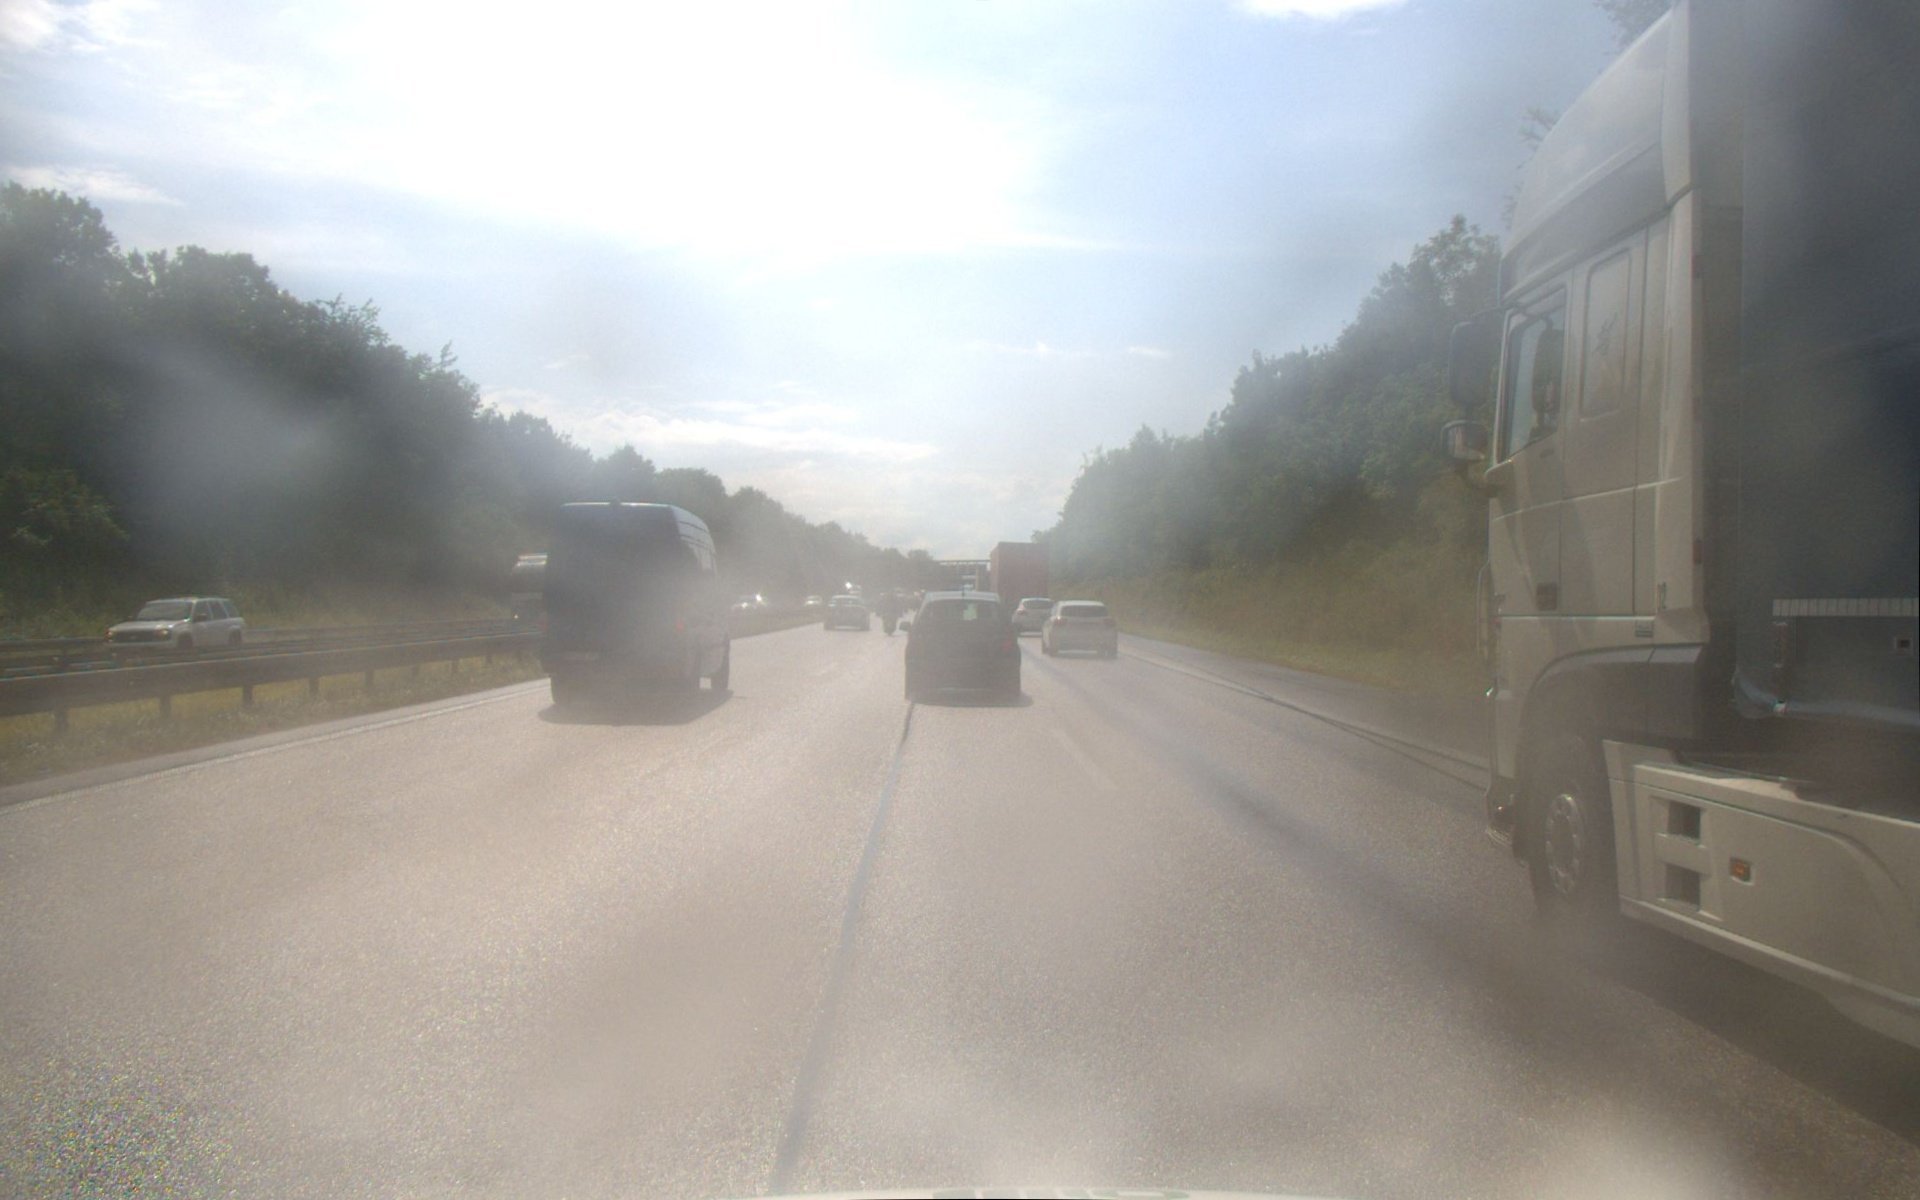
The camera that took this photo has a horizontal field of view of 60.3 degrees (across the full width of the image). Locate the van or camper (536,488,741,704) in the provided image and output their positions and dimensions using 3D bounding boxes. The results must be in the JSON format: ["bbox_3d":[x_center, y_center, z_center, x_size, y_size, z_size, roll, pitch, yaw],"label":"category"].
[{"bbox_3d":[-4.453,-0.044,23.787,1.953,2.715,5.383,1,0,-1],"label":"van or camper"}]

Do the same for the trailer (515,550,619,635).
[{"bbox_3d":[-22.362,-0.388,95.008,2.805,4.449,14.089,1,0,-1],"label":"trailer"}]

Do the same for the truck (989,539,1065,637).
[{"bbox_3d":[3.427,-0.572,89.793,3.575,4.803,16.779,1,0,1],"label":"truck"}]

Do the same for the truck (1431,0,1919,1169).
[{"bbox_3d":[3.837,-0.503,4.975,2.554,4.065,7.288,1,0,-2],"label":"truck"}]

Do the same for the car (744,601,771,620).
[{"bbox_3d":[-18.769,0.993,153.753,1.975,1.692,4.697,1,0,-1],"label":"car"}]

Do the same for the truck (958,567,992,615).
[{"bbox_3d":[1.478,-0.882,165.216,3.189,4.558,12.421,1,0,1],"label":"truck"}]

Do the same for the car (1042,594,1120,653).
[{"bbox_3d":[3.168,0.602,43.882,1.658,1.450,4.219,1,0,-1],"label":"car"}]

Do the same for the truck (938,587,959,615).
[{"bbox_3d":[-1.275,0.067,177.615,2.147,2.926,4.848,1,0,-1],"label":"truck"}]

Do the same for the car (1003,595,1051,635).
[{"bbox_3d":[2.606,0.578,65.210,1.646,1.467,3.904,1,0,-1],"label":"car"}]

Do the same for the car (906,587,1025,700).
[{"bbox_3d":[0.052,0.628,25.424,1.683,1.595,3.484,1,0,-1],"label":"car"}]

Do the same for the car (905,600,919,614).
[{"bbox_3d":[-4.989,0.740,172.204,1.455,1.414,3.197,1,0,-1],"label":"car"}]

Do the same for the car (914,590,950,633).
[{"bbox_3d":[-1.196,0.499,70.763,1.500,1.777,3.484,1,0,-1],"label":"car"}]

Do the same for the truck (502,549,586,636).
[{"bbox_3d":[-22.219,-0.398,88.600,2.805,4.449,6.867,1,0,-1],"label":"truck"}]

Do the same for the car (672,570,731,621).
[{"bbox_3d":[-13.029,-0.213,83.693,2.139,2.495,5.746,1,0,-1],"label":"car"}]

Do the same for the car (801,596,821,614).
[{"bbox_3d":[-14.740,0.471,163.567,1.696,1.692,4.235,1,0,-1],"label":"car"}]

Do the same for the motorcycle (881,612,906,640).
[{"bbox_3d":[-2.497,0.964,62.792,0.872,1.018,2.895,1,0,-1],"label":"motorcycle"}]

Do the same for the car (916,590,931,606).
[{"bbox_3d":[-4.791,-0.249,216.543,1.953,2.049,3.999,0,0,-1],"label":"car"}]

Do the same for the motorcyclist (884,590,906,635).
[{"bbox_3d":[-2.474,0.473,62.750,0.785,1.662,1.013,1,0,-1],"label":"motorcyclist"}]

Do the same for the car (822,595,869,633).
[{"bbox_3d":[-4.976,0.592,72.136,1.817,1.578,3.484,1,0,-1],"label":"car"}]

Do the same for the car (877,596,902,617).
[{"bbox_3d":[-5.084,0.447,119.074,1.716,1.482,3.389,1,0,-1],"label":"car"}]

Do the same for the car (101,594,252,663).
[{"bbox_3d":[-20.489,0.709,43.483,1.791,1.692,4.630,1,0,-1],"label":"car"}]

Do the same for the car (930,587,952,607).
[{"bbox_3d":[-1.385,-0.210,120.163,1.521,1.407,3.209,1,0,-1],"label":"car"}]

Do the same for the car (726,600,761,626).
[{"bbox_3d":[-14.609,0.879,111.733,1.800,1.692,4.440,1,0,-1],"label":"car"}]
